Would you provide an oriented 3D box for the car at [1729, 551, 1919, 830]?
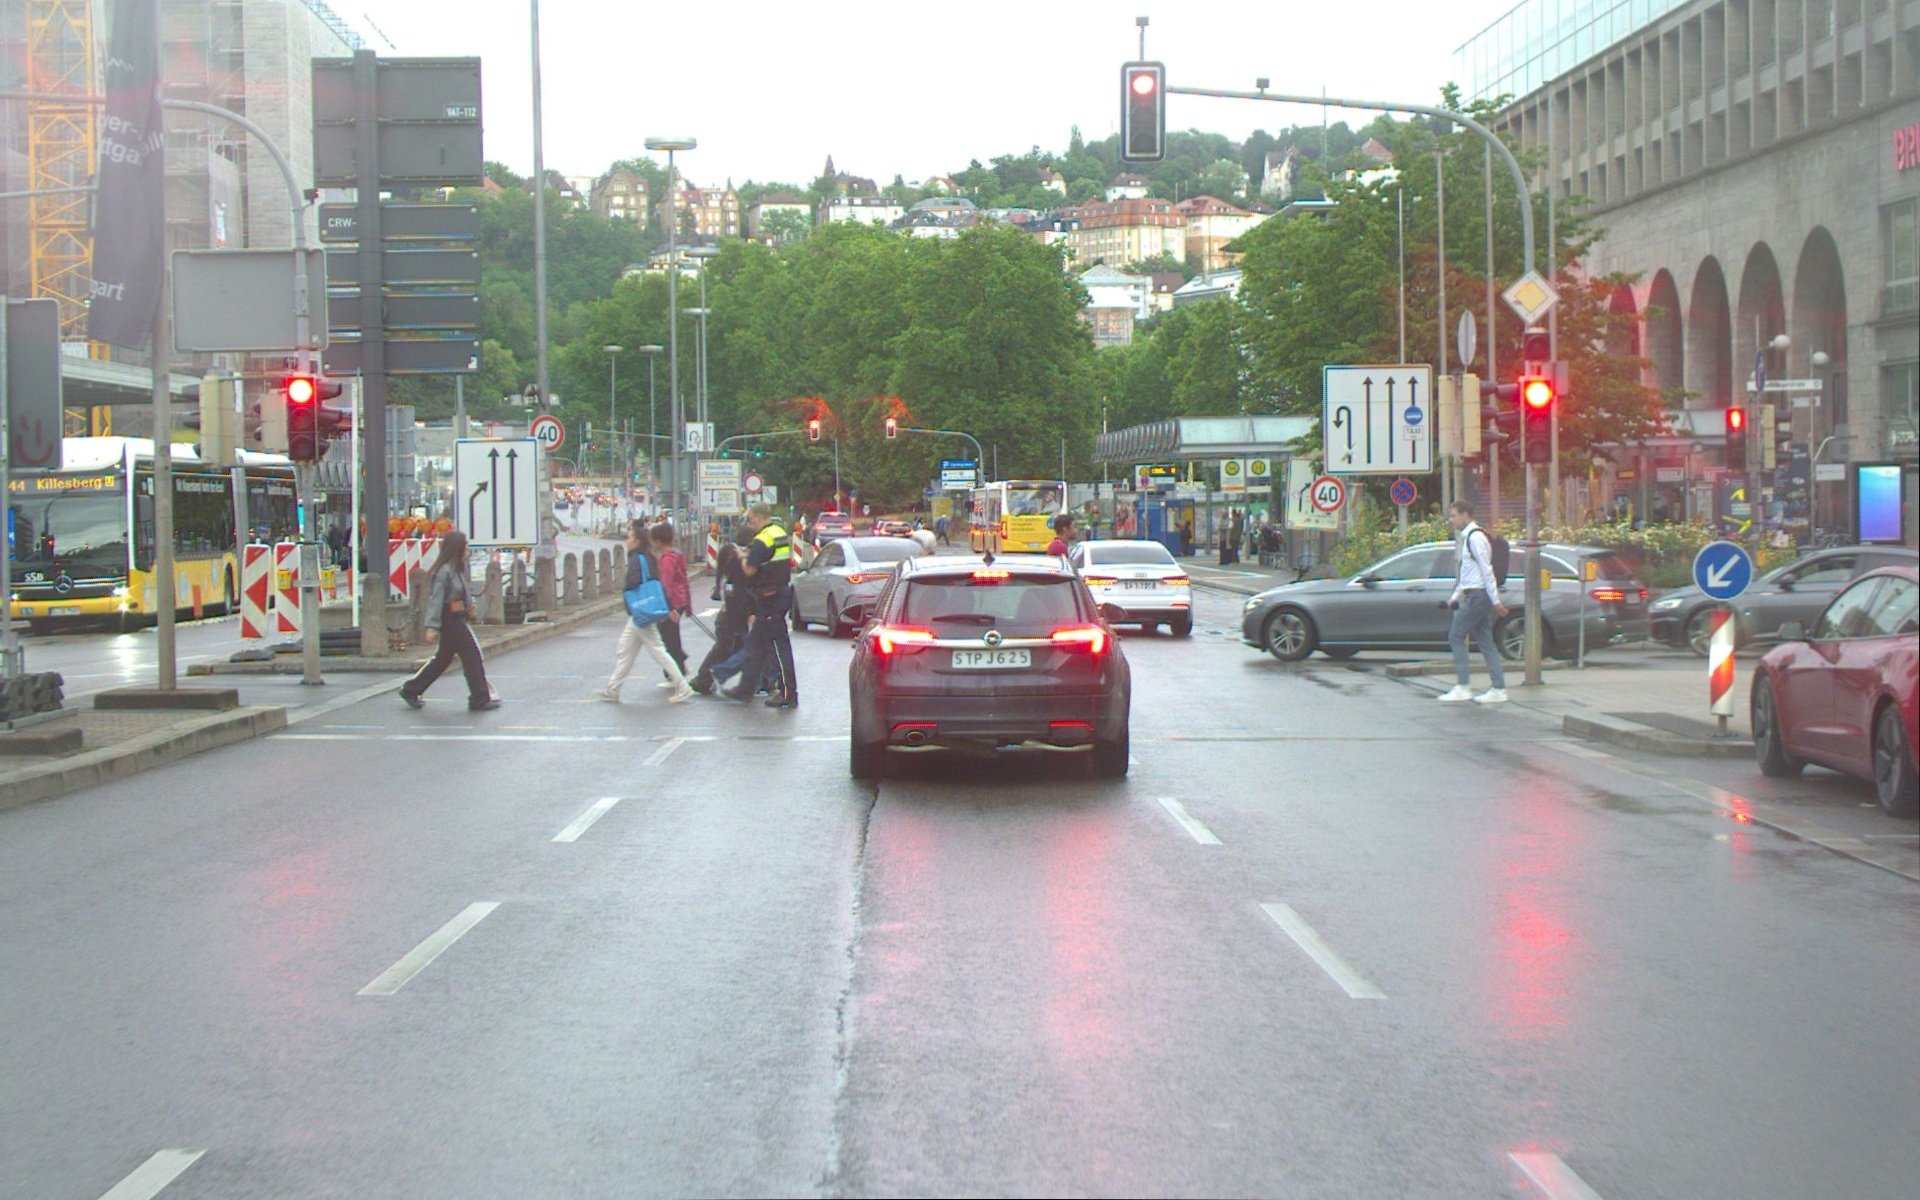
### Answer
[{"bbox_3d":[6.034,0.473,20.364,1.874,1.481,4.527,1,1,-1],"label":"car"}]

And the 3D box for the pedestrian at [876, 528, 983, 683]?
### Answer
[{"bbox_3d":[-0.311,0.054,35.280,0.785,1.555,0.874,1,0,25],"label":"pedestrian"}]

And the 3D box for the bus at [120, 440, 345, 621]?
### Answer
[{"bbox_3d":[-15.535,-1.452,74.227,2.668,3.589,10.212,1,1,0],"label":"bus"}]

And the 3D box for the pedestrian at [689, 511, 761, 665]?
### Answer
[{"bbox_3d":[-2.272,-0.113,33.206,0.678,1.469,0.366,1,0,-5],"label":"pedestrian"}]

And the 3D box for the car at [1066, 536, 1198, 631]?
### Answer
[{"bbox_3d":[2.628,-0.259,53.229,1.845,1.393,3.564,1,1,0],"label":"car"}]

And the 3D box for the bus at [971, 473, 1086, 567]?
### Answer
[{"bbox_3d":[2.585,-3.083,136.430,4.173,3.457,14.654,1,1,0],"label":"bus"}]

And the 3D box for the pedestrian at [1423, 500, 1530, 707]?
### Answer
[{"bbox_3d":[4.764,0.031,31.739,0.798,1.884,0.620,1,0,-8],"label":"pedestrian"}]

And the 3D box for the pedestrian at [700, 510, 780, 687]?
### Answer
[{"bbox_3d":[-2.160,-0.018,33.698,0.755,1.712,0.466,1,0,-3],"label":"pedestrian"}]

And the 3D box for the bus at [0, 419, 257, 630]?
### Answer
[{"bbox_3d":[-15.488,-1.349,64.041,2.668,3.589,10.239,1,1,0],"label":"bus"}]

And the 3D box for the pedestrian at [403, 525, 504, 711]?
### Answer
[{"bbox_3d":[-4.487,0.156,30.522,0.793,1.620,0.900,1,0,-3],"label":"pedestrian"}]

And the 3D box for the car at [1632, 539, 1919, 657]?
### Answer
[{"bbox_3d":[10.626,-0.027,42.746,4.390,1.393,1.758,1,1,12],"label":"car"}]

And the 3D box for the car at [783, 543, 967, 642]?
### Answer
[{"bbox_3d":[-1.313,-0.133,50.966,1.752,1.393,4.539,1,1,-14],"label":"car"}]

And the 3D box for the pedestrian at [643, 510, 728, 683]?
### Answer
[{"bbox_3d":[-2.768,-0.036,34.709,0.799,1.711,0.620,-2,1,-3],"label":"pedestrian"}]

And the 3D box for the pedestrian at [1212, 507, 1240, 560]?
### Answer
[{"bbox_3d":[8.581,-2.142,110.765,0.763,1.684,0.825,1,0,-4],"label":"pedestrian"}]

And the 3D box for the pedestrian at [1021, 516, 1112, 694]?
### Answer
[{"bbox_3d":[1.061,0.046,34.226,0.570,1.746,0.679,1,1,43],"label":"pedestrian"}]

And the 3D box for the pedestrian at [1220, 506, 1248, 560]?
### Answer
[{"bbox_3d":[8.734,-2.135,109.667,0.763,1.684,0.825,1,0,-4],"label":"pedestrian"}]

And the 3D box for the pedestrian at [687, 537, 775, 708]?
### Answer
[{"bbox_3d":[-2.175,0.212,32.688,0.799,1.603,0.620,1,0,-3],"label":"pedestrian"}]

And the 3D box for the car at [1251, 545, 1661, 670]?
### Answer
[{"bbox_3d":[5.944,0.065,41.297,4.529,1.393,1.756,1,1,27],"label":"car"}]

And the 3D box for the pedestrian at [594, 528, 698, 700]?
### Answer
[{"bbox_3d":[-2.903,0.121,31.856,0.915,1.558,0.900,1,0,-3],"label":"pedestrian"}]

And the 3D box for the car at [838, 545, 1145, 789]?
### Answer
[{"bbox_3d":[0.169,0.394,23.209,1.874,1.481,4.000,1,1,-1],"label":"car"}]

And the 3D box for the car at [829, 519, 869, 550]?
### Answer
[{"bbox_3d":[-5.171,-3.039,160.118,1.759,1.393,3.564,1,1,0],"label":"car"}]

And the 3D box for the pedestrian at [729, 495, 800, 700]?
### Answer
[{"bbox_3d":[-1.771,-0.029,31.188,0.578,1.830,0.820,1,0,0],"label":"pedestrian"}]
